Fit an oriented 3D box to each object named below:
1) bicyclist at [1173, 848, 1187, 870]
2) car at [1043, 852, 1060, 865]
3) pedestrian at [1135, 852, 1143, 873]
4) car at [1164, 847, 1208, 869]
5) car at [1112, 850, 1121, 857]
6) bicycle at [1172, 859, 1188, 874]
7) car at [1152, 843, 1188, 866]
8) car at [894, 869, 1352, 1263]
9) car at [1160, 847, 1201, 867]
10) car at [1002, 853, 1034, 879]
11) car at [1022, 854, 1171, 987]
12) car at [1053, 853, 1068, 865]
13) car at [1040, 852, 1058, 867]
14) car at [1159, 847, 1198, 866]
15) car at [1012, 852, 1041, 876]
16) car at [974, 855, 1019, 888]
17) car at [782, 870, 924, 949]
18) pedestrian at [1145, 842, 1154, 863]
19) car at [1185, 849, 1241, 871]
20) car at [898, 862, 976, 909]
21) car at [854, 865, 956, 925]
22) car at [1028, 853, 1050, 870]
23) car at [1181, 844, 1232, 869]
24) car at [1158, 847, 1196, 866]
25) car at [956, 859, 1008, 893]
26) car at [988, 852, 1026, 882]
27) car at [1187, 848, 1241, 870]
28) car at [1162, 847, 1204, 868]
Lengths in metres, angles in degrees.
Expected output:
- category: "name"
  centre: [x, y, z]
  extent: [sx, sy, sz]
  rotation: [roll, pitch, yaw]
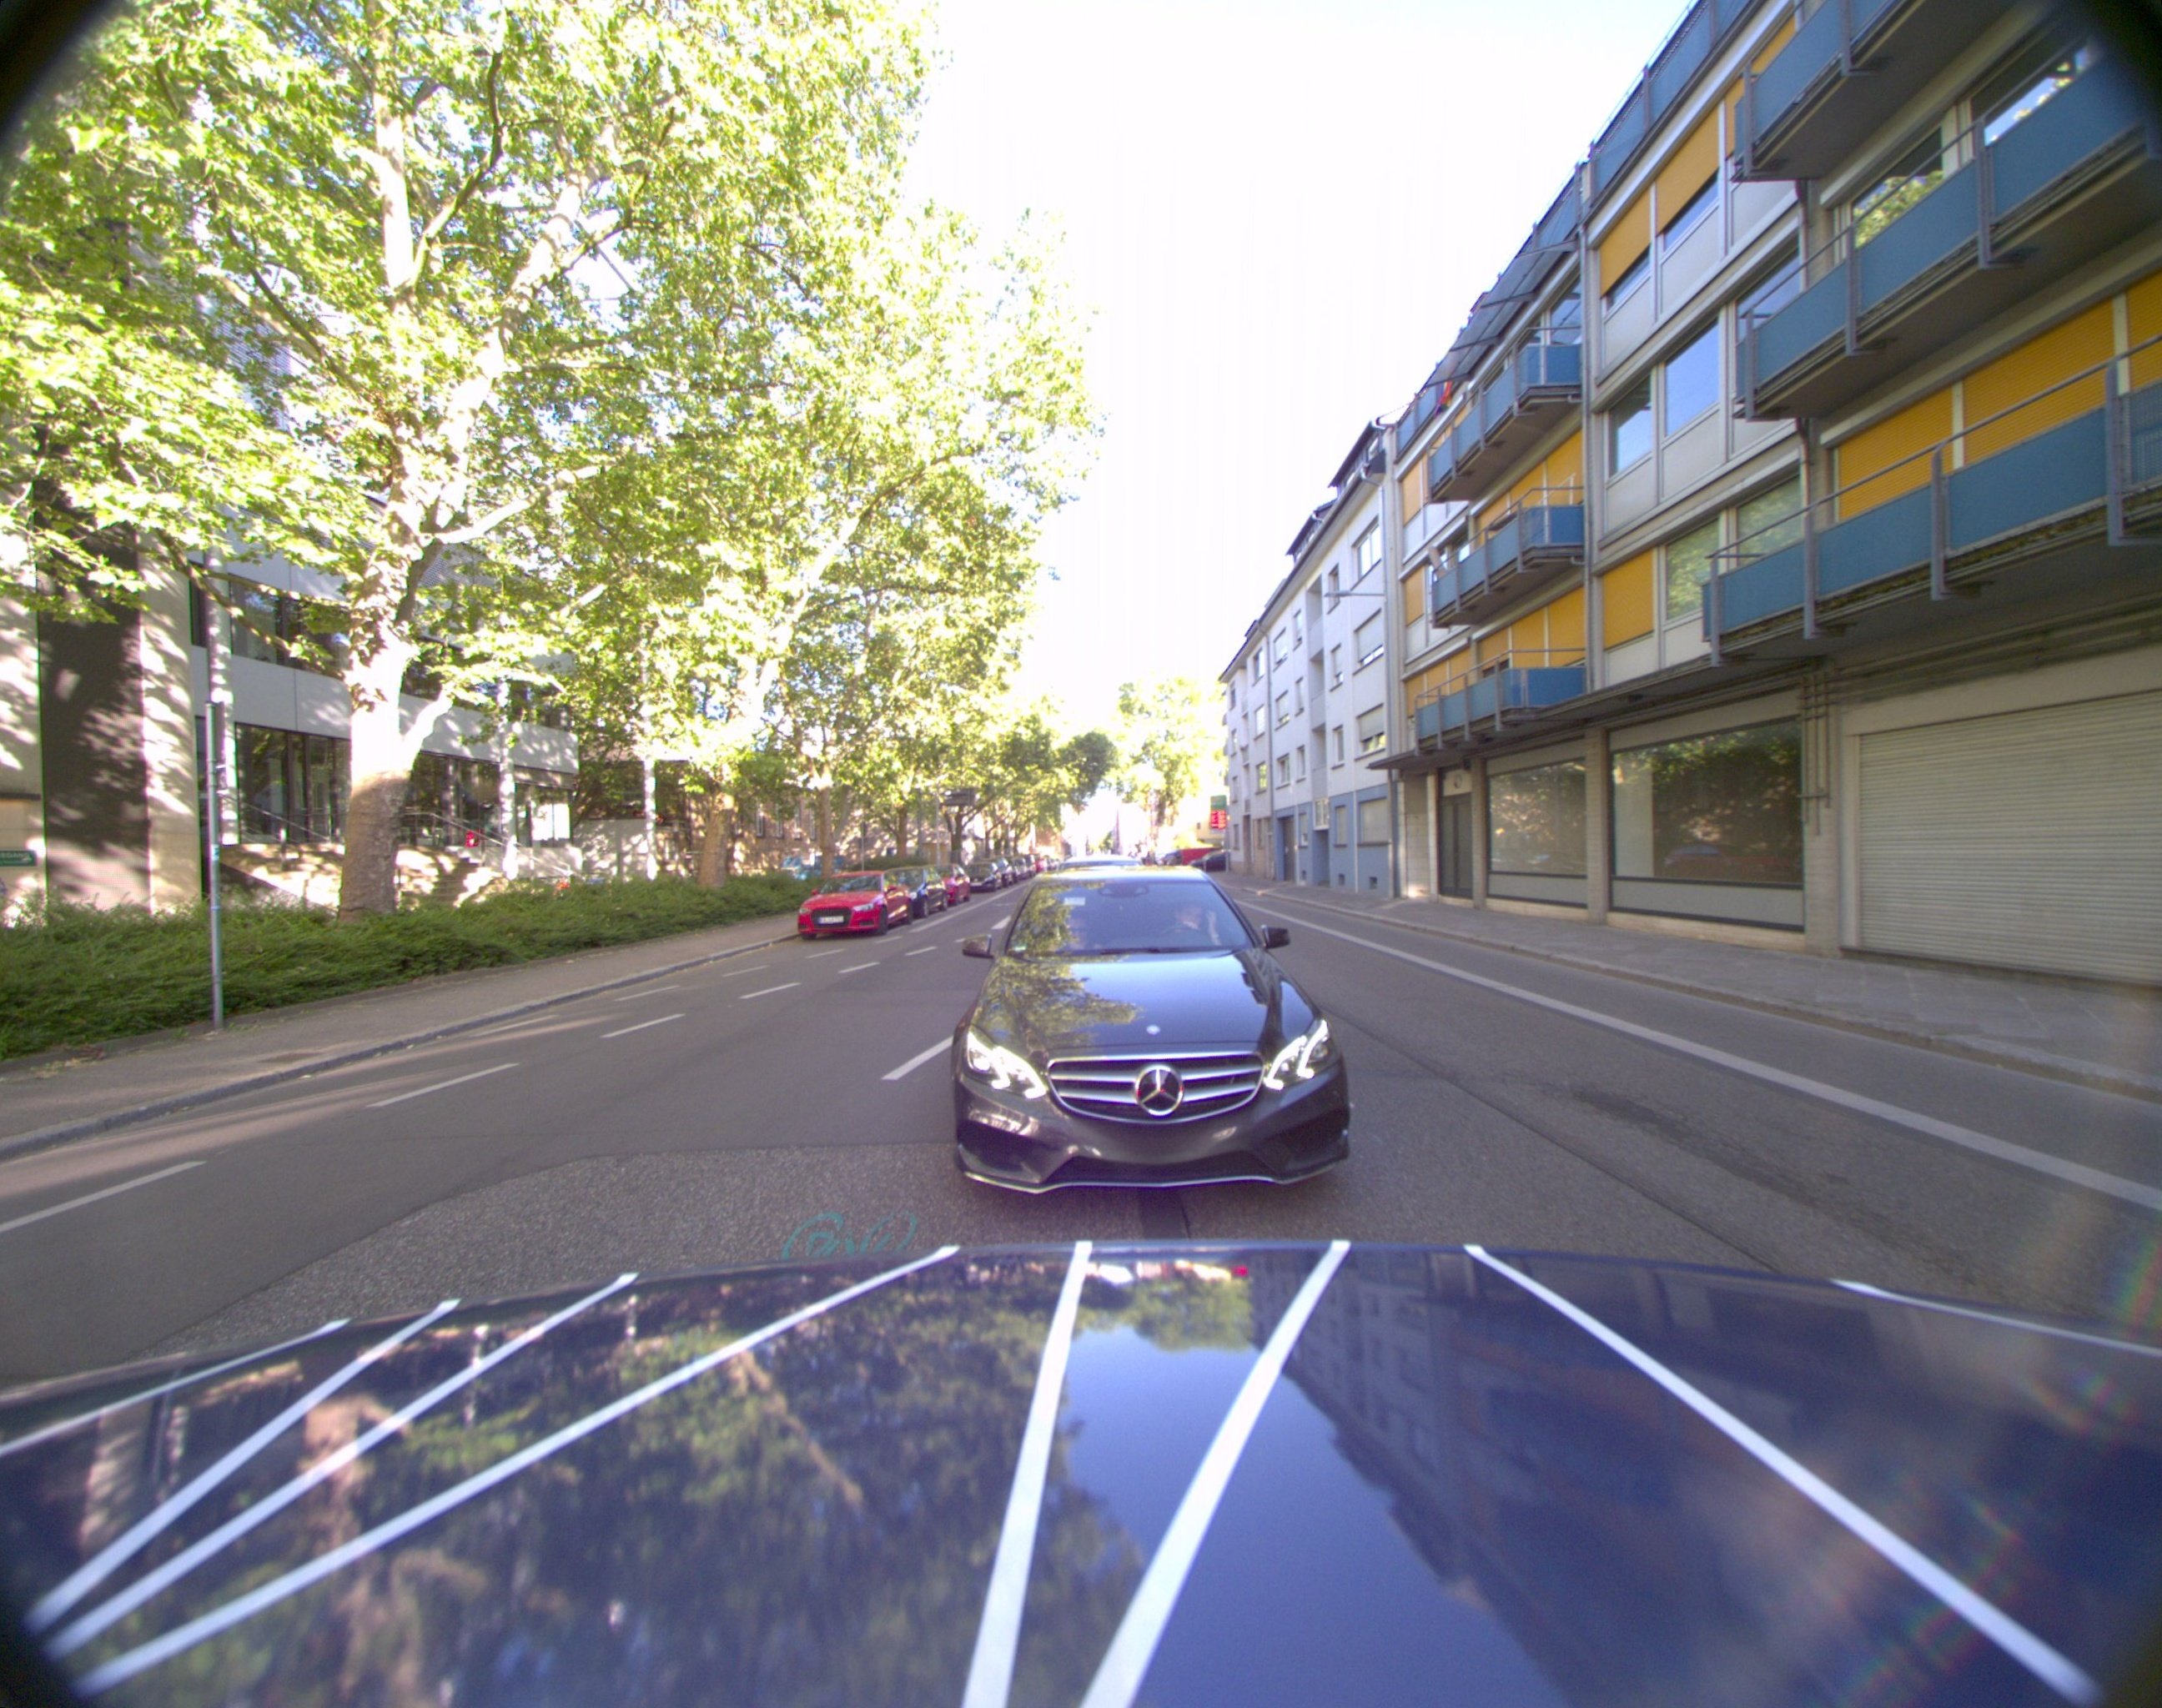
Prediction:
- category: "bicyclist"
  centre: [6.530, 0.325, 50.105]
  extent: [0.755, 1.442, 0.796]
  rotation: [-2, 1, 1]
- category: "car"
  centre: [-3.684, 0.532, 96.780]
  extent: [1.866, 1.632, 4.481]
  rotation: [-2, 0, 1]
- category: "pedestrian"
  centre: [5.653, 0.830, 74.004]
  extent: [0.735, 2.002, 0.797]
  rotation: [-2, 1, 1]
- category: "car"
  centre: [10.244, 0.385, 74.513]
  extent: [3.996, 1.936, 2.000]
  rotation: [-2, 1, 2]
- category: "car"
  centre: [8.579, -0.170, 183.721]
  extent: [1.866, 1.632, 4.481]
  rotation: [-2, 0, 1]
- category: "bicycle"
  centre: [6.539, 0.827, 50.098]
  extent: [0.766, 0.915, 2.218]
  rotation: [-2, 1, 1]
- category: "car"
  centre: [10.485, 0.012, 89.515]
  extent: [3.996, 2.505, 2.000]
  rotation: [-2, 1, 2]
- category: "car"
  centre: [0.205, 0.934, 5.415]
  extent: [1.866, 1.492, 4.481]
  rotation: [-2, 0, 1]
- category: "car"
  centre: [10.456, 0.316, 80.005]
  extent: [3.996, 1.936, 2.000]
  rotation: [-2, 1, 2]
- category: "car"
  centre: [-4.505, 0.820, 54.807]
  extent: [1.866, 1.749, 4.481]
  rotation: [-2, 0, 1]
- category: "car"
  centre: [0.224, 0.859, 11.937]
  extent: [1.866, 1.630, 4.303]
  rotation: [-2, 0, 1]
- category: "car"
  centre: [-2.844, 0.656, 105.191]
  extent: [1.866, 1.632, 4.481]
  rotation: [-2, 0, 1]
- category: "car"
  centre: [-3.792, 0.653, 89.982]
  extent: [1.866, 1.632, 4.481]
  rotation: [-2, 0, 1]
- category: "car"
  centre: [10.586, 0.283, 82.494]
  extent: [3.996, 1.936, 2.000]
  rotation: [-2, 1, 2]
- category: "car"
  centre: [-4.248, 0.757, 59.763]
  extent: [1.866, 1.749, 4.481]
  rotation: [-2, 0, 1]
- category: "car"
  centre: [-4.623, 0.908, 42.214]
  extent: [1.866, 1.658, 4.481]
  rotation: [-2, 0, 1]
- category: "car"
  centre: [-5.104, 1.177, 17.738]
  extent: [1.866, 1.442, 4.481]
  rotation: [-2, 0, 1]
- category: "pedestrian"
  centre: [6.624, -0.131, 73.630]
  extent: [0.734, 2.002, 1.046]
  rotation: [-2, 1, 1]
- category: "car"
  centre: [10.172, 0.431, 58.879]
  extent: [3.996, 1.543, 2.000]
  rotation: [-2, 1, 2]
- category: "car"
  centre: [-5.089, 1.065, 27.432]
  extent: [1.866, 1.442, 4.481]
  rotation: [-2, 0, 1]
- category: "car"
  centre: [-5.044, 1.124, 22.388]
  extent: [1.866, 1.442, 4.481]
  rotation: [-2, 0, 1]
- category: "car"
  centre: [-4.203, 0.707, 76.285]
  extent: [1.866, 1.632, 4.481]
  rotation: [-2, 0, 1]
- category: "car"
  centre: [10.545, 0.162, 64.032]
  extent: [3.996, 1.936, 2.000]
  rotation: [-2, 1, 2]
- category: "car"
  centre: [10.731, 0.250, 84.988]
  extent: [3.996, 1.936, 2.000]
  rotation: [-2, 1, 2]
- category: "car"
  centre: [-4.758, 1.025, 37.179]
  extent: [1.866, 1.442, 4.481]
  rotation: [-2, 0, 1]
- category: "car"
  centre: [-4.635, 0.785, 48.140]
  extent: [1.866, 1.749, 4.481]
  rotation: [-2, 0, 1]
- category: "car"
  centre: [10.713, 0.384, 61.201]
  extent: [3.996, 1.543, 2.000]
  rotation: [-2, 1, 2]
- category: "car"
  centre: [10.328, 0.352, 77.154]
  extent: [3.996, 1.936, 2.000]
  rotation: [-2, 1, 2]
